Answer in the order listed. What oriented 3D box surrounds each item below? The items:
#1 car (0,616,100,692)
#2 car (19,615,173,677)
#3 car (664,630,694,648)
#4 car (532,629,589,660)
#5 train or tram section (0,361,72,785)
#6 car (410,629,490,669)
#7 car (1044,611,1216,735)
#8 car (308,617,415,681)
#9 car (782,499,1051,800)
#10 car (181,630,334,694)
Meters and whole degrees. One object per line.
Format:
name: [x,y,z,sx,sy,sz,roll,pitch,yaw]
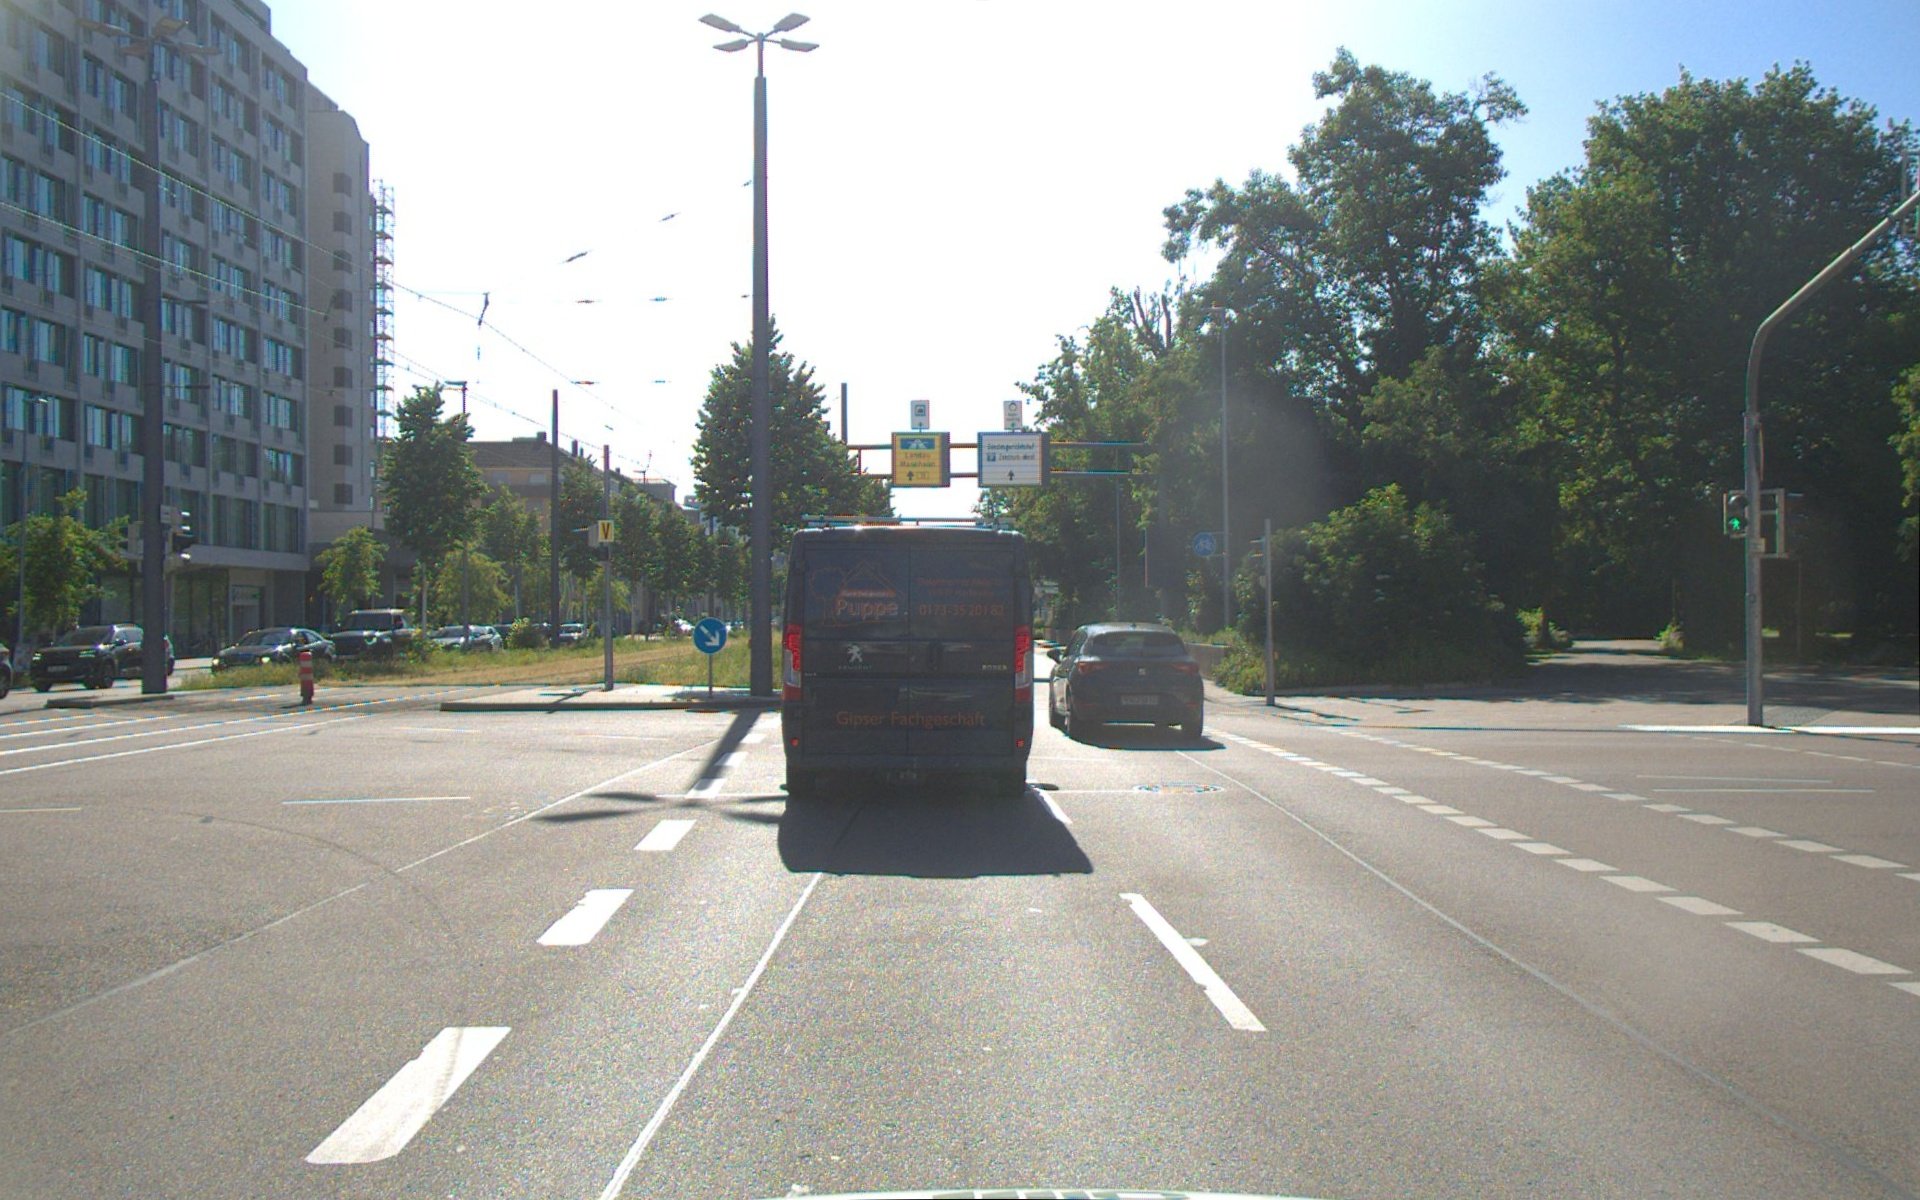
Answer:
car: [-20.840,1.147,35.876,1.951,1.579,4.002,0,-1,6]
car: [-23.084,1.213,44.366,1.952,1.579,4.000,1,-1,1]
car: [-25.466,3.507,150.073,1.952,1.579,4.000,1,-1,0]
car: [-21.404,2.375,88.783,1.952,1.579,4.000,1,-1,1]
train or tram section: [-9.592,-0.333,9.784,1.952,3.734,11.685,0,-1,2]
car: [-20.996,2.009,68.265,1.952,1.579,4.000,1,-1,1]
car: [2.176,0.925,22.134,1.728,1.488,3.998,1,-1,-2]
car: [-18.166,1.460,50.376,1.954,1.851,4.281,1,-1,-4]
car: [-0.367,0.416,14.686,2.040,2.288,3.999,1,-1,-1]
car: [-18.342,1.585,43.397,1.951,1.579,4.002,0,-1,6]
